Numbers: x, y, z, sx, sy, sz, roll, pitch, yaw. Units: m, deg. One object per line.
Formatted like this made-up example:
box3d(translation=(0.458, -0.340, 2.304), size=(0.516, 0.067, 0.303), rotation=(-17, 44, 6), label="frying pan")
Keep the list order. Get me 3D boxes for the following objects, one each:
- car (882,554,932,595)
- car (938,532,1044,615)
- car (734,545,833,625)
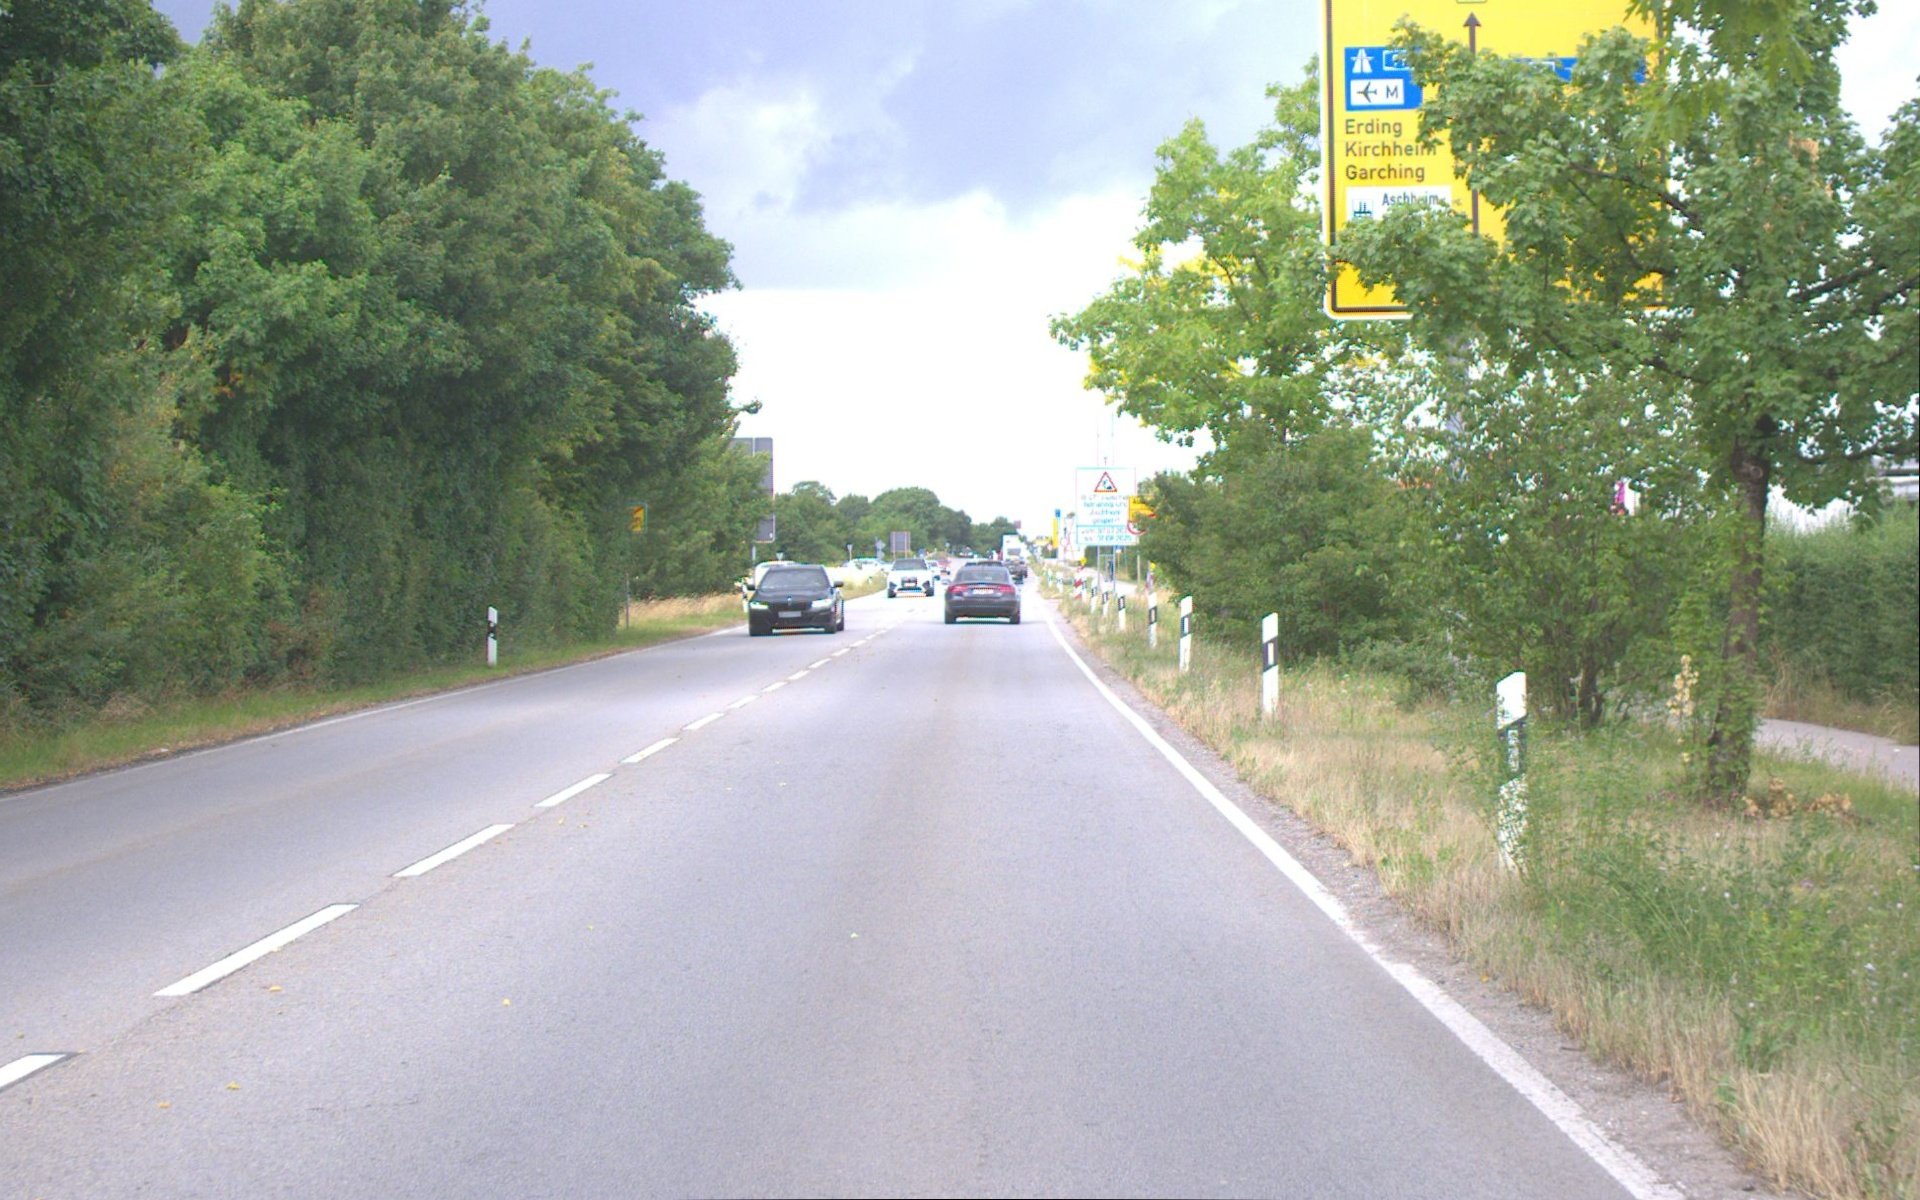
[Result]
box3d(translation=(-2.315, -1.138, 151.065), size=(1.993, 1.678, 4.809), rotation=(-1, 1, 1), label="car")
box3d(translation=(0.727, -0.654, 83.949), size=(2.372, 1.874, 4.478), rotation=(-3, 1, -1), label="car")
box3d(translation=(-3.775, -0.333, 74.346), size=(1.940, 1.580, 4.556), rotation=(-3, 1, -1), label="car")
